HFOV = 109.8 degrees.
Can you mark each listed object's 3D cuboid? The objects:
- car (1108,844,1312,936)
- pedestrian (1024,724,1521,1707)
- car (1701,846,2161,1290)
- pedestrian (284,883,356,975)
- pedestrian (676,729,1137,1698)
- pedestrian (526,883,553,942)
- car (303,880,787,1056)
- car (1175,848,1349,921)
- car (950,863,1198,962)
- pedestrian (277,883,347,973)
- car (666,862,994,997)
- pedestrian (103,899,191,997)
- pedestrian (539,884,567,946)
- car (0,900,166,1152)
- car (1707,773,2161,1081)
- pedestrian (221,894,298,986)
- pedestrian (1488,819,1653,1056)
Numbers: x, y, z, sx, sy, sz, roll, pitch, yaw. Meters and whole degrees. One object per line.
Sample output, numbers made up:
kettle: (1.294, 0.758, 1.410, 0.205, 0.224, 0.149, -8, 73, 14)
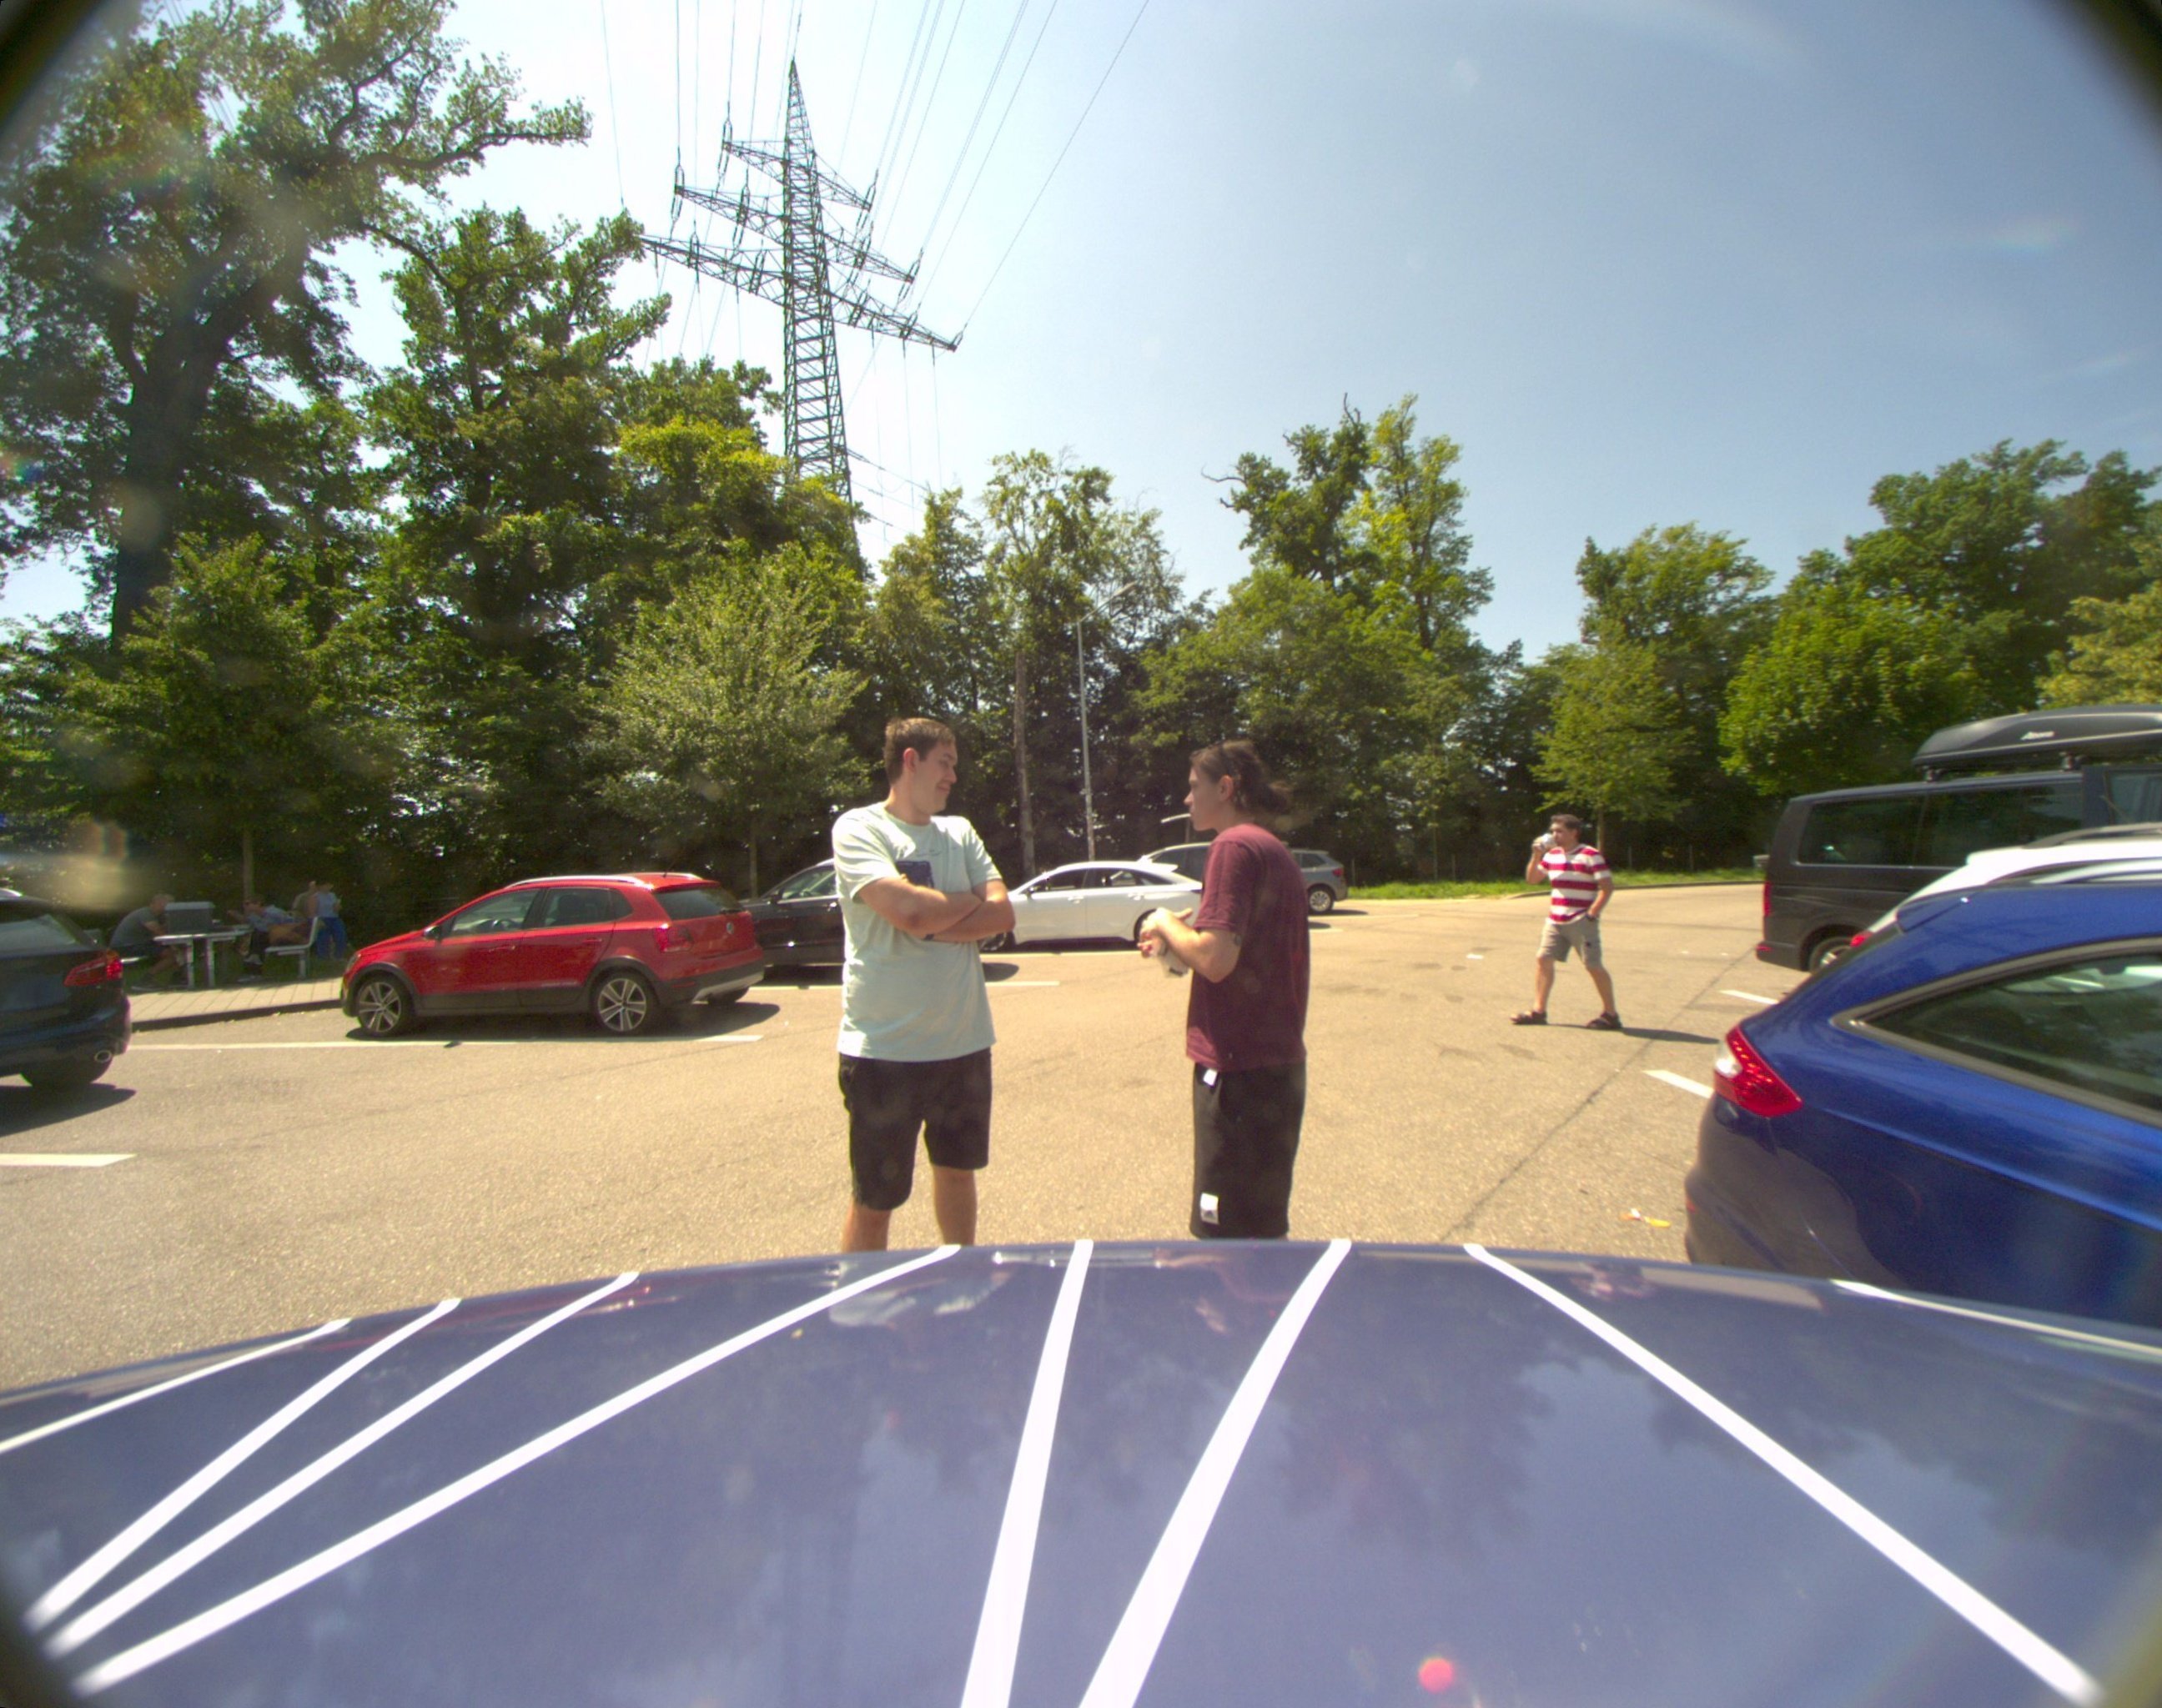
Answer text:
car: (2.608, 0.710, 15.458, 3.822, 1.686, 1.652, -2, 1, 12)
pedestrian: (0.469, 0.715, 1.931, 0.919, 1.894, 0.815, -2, 1, 16)
car: (4.647, 0.730, 2.254, 1.757, 1.496, 4.574, -3, -1, -1)
pedestrian: (-13.809, 1.355, 13.801, 0.571, 1.596, 0.648, -2, 1, 12)
pedestrian: (-0.495, 0.718, 2.116, 0.815, 1.939, 0.918, -3, 2, -44)
pedestrian: (-11.008, 1.183, 15.440, 0.357, 1.158, 0.384, -3, 2, -41)
car: (-5.230, 1.088, 7.671, 3.823, 1.460, 1.651, -2, 1, 8)
car: (4.267, 0.707, 18.153, 3.822, 1.551, 1.652, -2, 1, 12)
car: (-0.073, 0.932, 12.675, 3.825, 1.394, 1.651, -2, 1, 4)
pedestrian: (-14.383, 1.372, 14.224, 0.571, 1.596, 0.648, -2, 1, 12)
car: (-3.248, 0.960, 10.300, 3.825, 1.546, 1.651, -2, 1, 4)
pedestrian: (-12.727, 1.265, 10.373, 0.595, 1.238, 0.446, -3, 1, -33)
pedestrian: (-10.163, 1.160, 14.625, 0.357, 1.158, 0.384, -3, 2, -41)
car: (-9.030, 1.169, 5.005, 4.338, 1.544, 1.749, -1, 1, 8)
car: (7.376, 0.416, 5.285, 1.758, 1.886, 4.571, -3, -1, -9)
pedestrian: (-11.860, 1.226, 10.987, 0.595, 1.238, 0.499, -3, 1, -33)
pedestrian: (3.911, 0.621, 6.116, 0.785, 1.744, 0.754, -2, 1, -14)
